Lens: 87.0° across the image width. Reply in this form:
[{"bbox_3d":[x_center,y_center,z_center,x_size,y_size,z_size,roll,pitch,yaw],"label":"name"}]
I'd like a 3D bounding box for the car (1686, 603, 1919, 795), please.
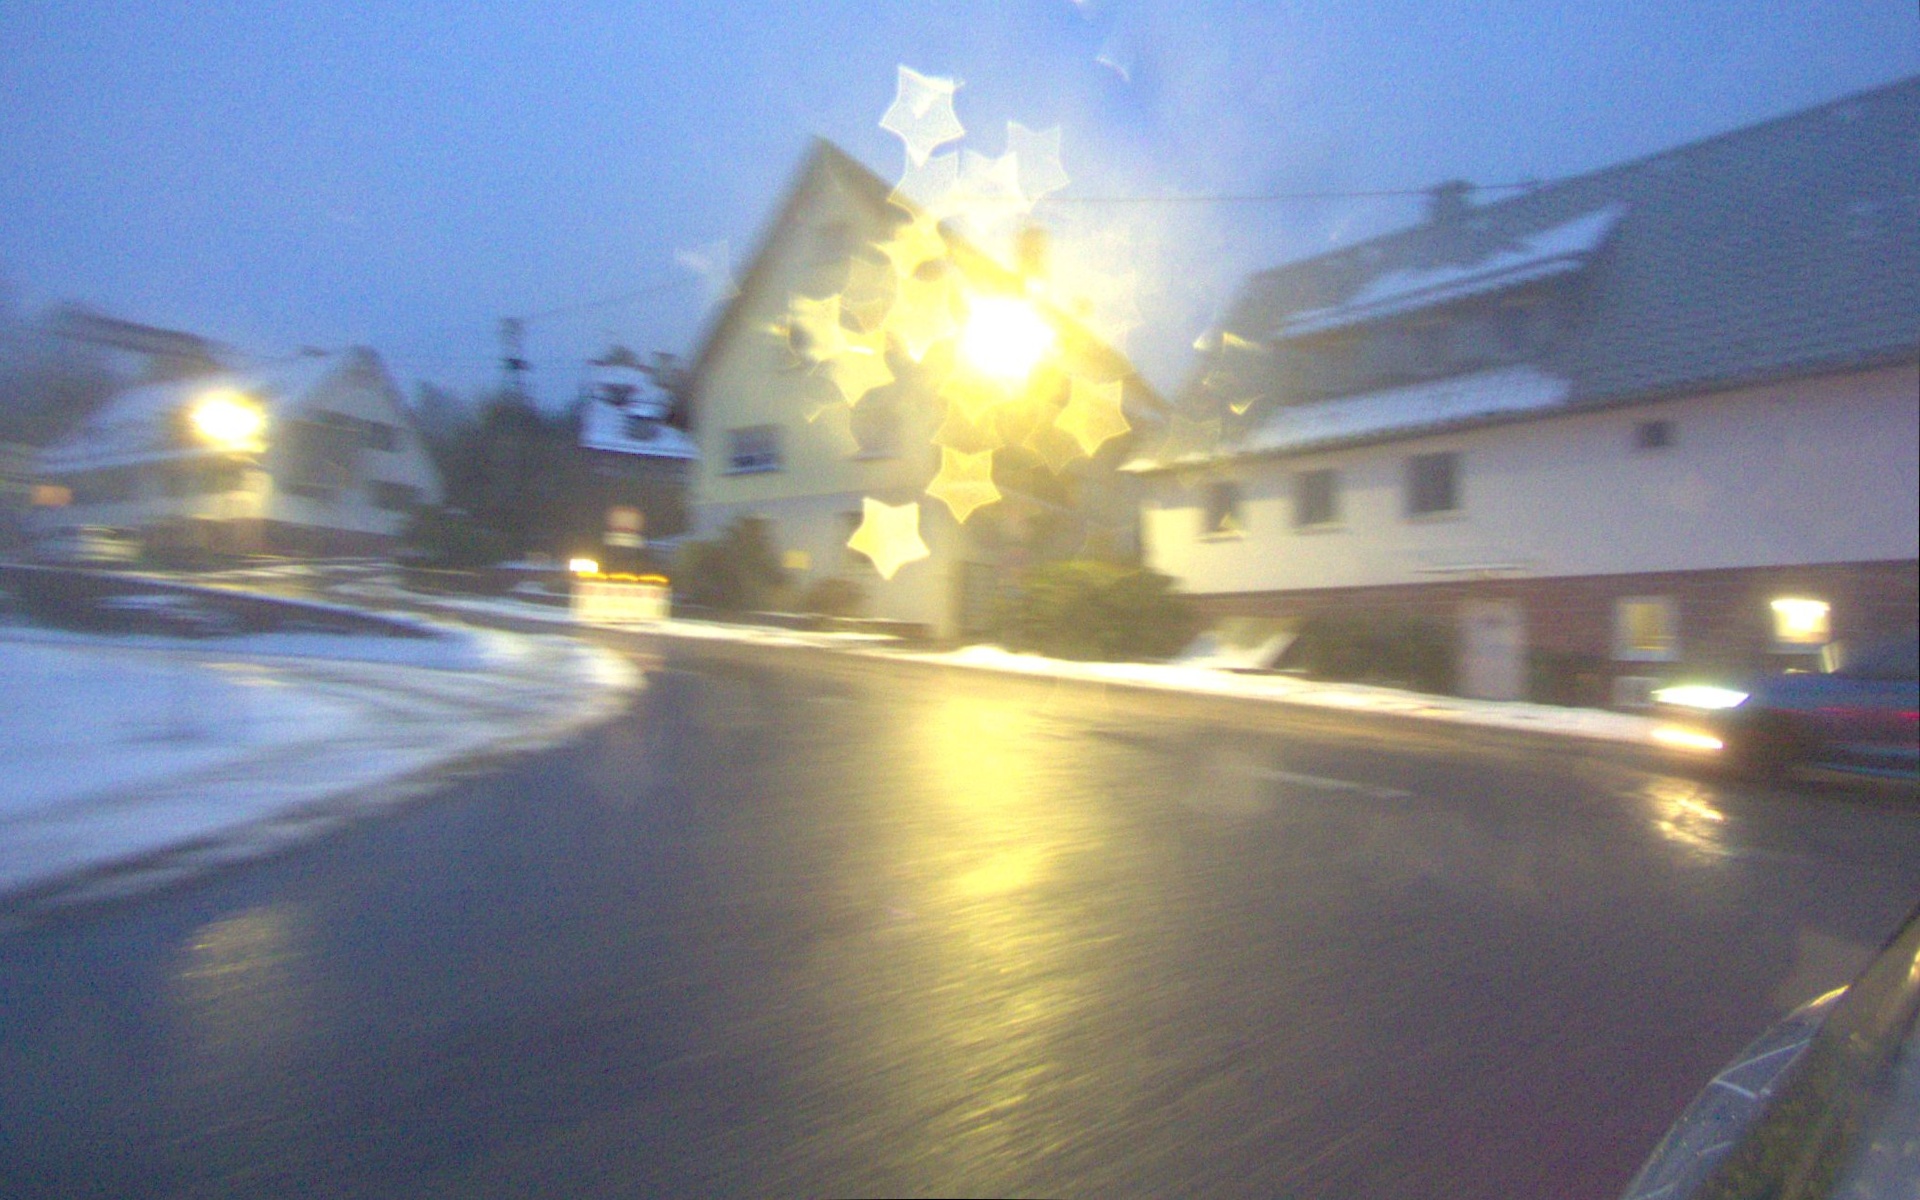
[{"bbox_3d":[8.729,0.848,7.886,4.909,1.399,1.972,3,1,38],"label":"car"}]
